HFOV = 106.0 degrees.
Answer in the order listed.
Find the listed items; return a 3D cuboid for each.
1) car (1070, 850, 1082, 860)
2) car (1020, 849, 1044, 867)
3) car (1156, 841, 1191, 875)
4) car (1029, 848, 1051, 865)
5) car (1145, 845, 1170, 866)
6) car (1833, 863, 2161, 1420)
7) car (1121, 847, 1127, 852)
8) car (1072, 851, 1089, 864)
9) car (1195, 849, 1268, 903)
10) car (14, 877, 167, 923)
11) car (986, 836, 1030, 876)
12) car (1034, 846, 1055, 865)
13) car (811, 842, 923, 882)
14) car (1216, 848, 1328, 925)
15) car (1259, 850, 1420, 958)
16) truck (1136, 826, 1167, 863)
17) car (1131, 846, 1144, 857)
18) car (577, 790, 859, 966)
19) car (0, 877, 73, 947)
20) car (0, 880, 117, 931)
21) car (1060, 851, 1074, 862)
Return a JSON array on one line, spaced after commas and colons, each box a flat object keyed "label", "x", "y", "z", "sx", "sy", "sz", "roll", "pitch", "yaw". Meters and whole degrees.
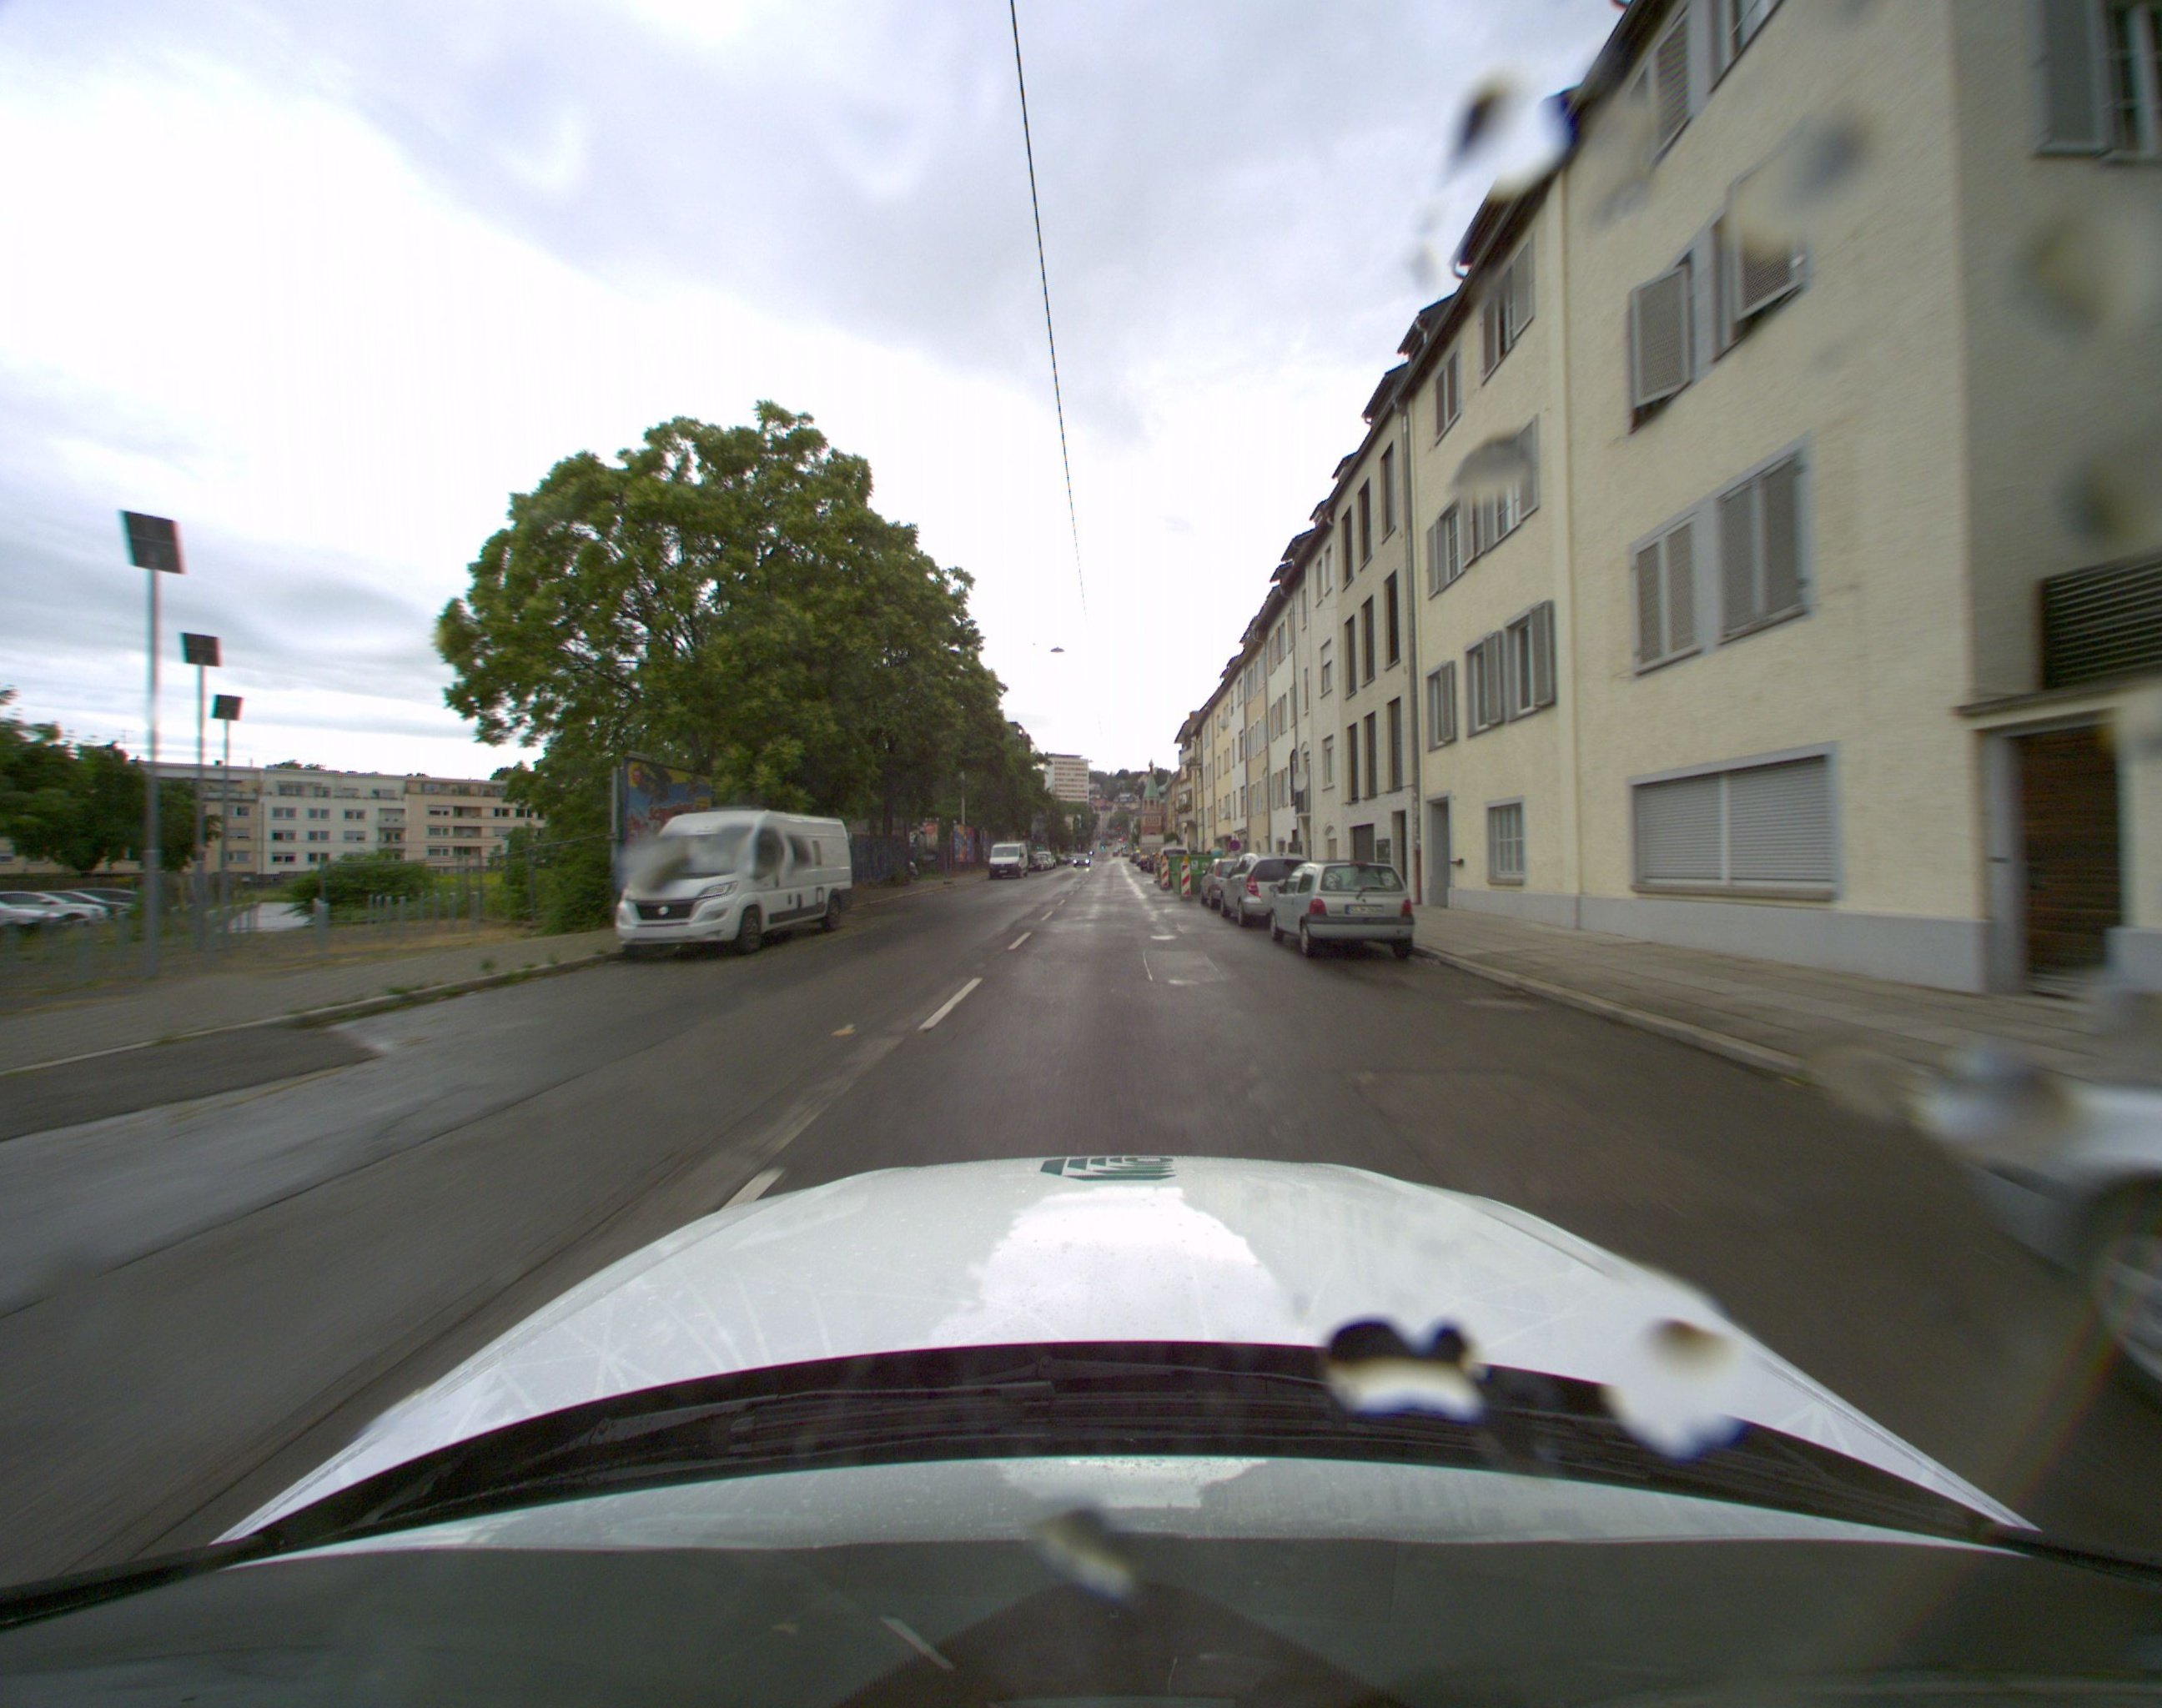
[{"label": "car", "x": -0.745, "y": 0.095, "z": 125.508, "sx": 1.703, "sy": 1.450, "sz": 4.295, "roll": -1, "pitch": 0, "yaw": 1}, {"label": "car", "x": -4.173, "y": 0.338, "z": 69.758, "sx": 1.676, "sy": 1.398, "sz": 3.911, "roll": -2, "pitch": 0, "yaw": 1}, {"label": "car", "x": 5.407, "y": 0.198, "z": 48.017, "sx": 1.809, "sy": 1.924, "sz": 4.244, "roll": 0, "pitch": 1, "yaw": 4}, {"label": "car", "x": -3.788, "y": 0.244, "z": 76.387, "sx": 1.676, "sy": 1.462, "sz": 4.278, "roll": -2, "pitch": 0, "yaw": 1}, {"label": "car", "x": 6.002, "y": 0.109, "z": 64.242, "sx": 1.657, "sy": 1.573, "sz": 4.100, "roll": -1, "pitch": 1, "yaw": 2}, {"label": "car", "x": 3.670, "y": 0.808, "z": 1.252, "sx": 1.623, "sy": 1.453, "sz": 3.761, "roll": 1, "pitch": 1, "yaw": 2}, {"label": "car", "x": 13.427, "y": -1.445, "z": 254.694, "sx": 1.723, "sy": 1.653, "sz": 4.006, "roll": -2, "pitch": 0, "yaw": 5}, {"label": "car", "x": -0.019, "y": 0.395, "z": 91.734, "sx": 1.799, "sy": 1.415, "sz": 4.384, "roll": -1, "pitch": 0, "yaw": 0}, {"label": "car", "x": 4.411, "y": 0.596, "z": 24.327, "sx": 1.620, "sy": 1.410, "sz": 3.845, "roll": 1, "pitch": 1, "yaw": 3}, {"label": "car", "x": -42.423, "y": 1.913, "z": 35.039, "sx": 1.777, "sy": 1.625, "sz": 4.024, "roll": -1, "pitch": 1, "yaw": 44}, {"label": "car", "x": -4.796, "y": 0.082, "z": 54.509, "sx": 2.003, "sy": 2.487, "sz": 5.988, "roll": -2, "pitch": 1, "yaw": 3}, {"label": "car", "x": -3.602, "y": 0.138, "z": 81.473, "sx": 1.717, "sy": 1.800, "sz": 4.346, "roll": -2, "pitch": 0, "yaw": 2}, {"label": "car", "x": -11.691, "y": 0.413, "z": 44.741, "sx": 5.482, "sy": 2.009, "sz": 2.146, "roll": -2, "pitch": 1, "yaw": 0}, {"label": "car", "x": 4.236, "y": 0.647, "z": 18.631, "sx": 1.710, "sy": 1.524, "sz": 4.002, "roll": 1, "pitch": 1, "yaw": 2}, {"label": "car", "x": 4.080, "y": 0.706, "z": 13.463, "sx": 1.553, "sy": 1.453, "sz": 3.761, "roll": 1, "pitch": 1, "yaw": 2}, {"label": "truck", "x": 6.370, "y": -0.879, "z": 74.261, "sx": 2.459, "sy": 3.172, "sz": 7.041, "roll": -1, "pitch": 0, "yaw": 3}, {"label": "car", "x": 8.301, "y": -0.403, "z": 119.924, "sx": 1.811, "sy": 1.652, "sz": 4.078, "roll": 1, "pitch": 1, "yaw": 2}, {"label": "car", "x": -6.410, "y": 0.318, "z": 15.650, "sx": 2.222, "sy": 2.578, "sz": 6.540, "roll": -2, "pitch": 1, "yaw": 1}, {"label": "car", "x": -30.945, "y": 1.667, "z": 21.834, "sx": 1.975, "sy": 1.834, "sz": 4.721, "roll": -1, "pitch": 1, "yaw": 44}, {"label": "car", "x": -37.700, "y": 1.861, "z": 29.110, "sx": 1.777, "sy": 1.625, "sz": 4.024, "roll": -1, "pitch": 1, "yaw": 44}, {"label": "car", "x": -1.852, "y": 0.292, "z": 110.750, "sx": 1.797, "sy": 1.450, "sz": 4.657, "roll": -1, "pitch": 0, "yaw": 0}]
